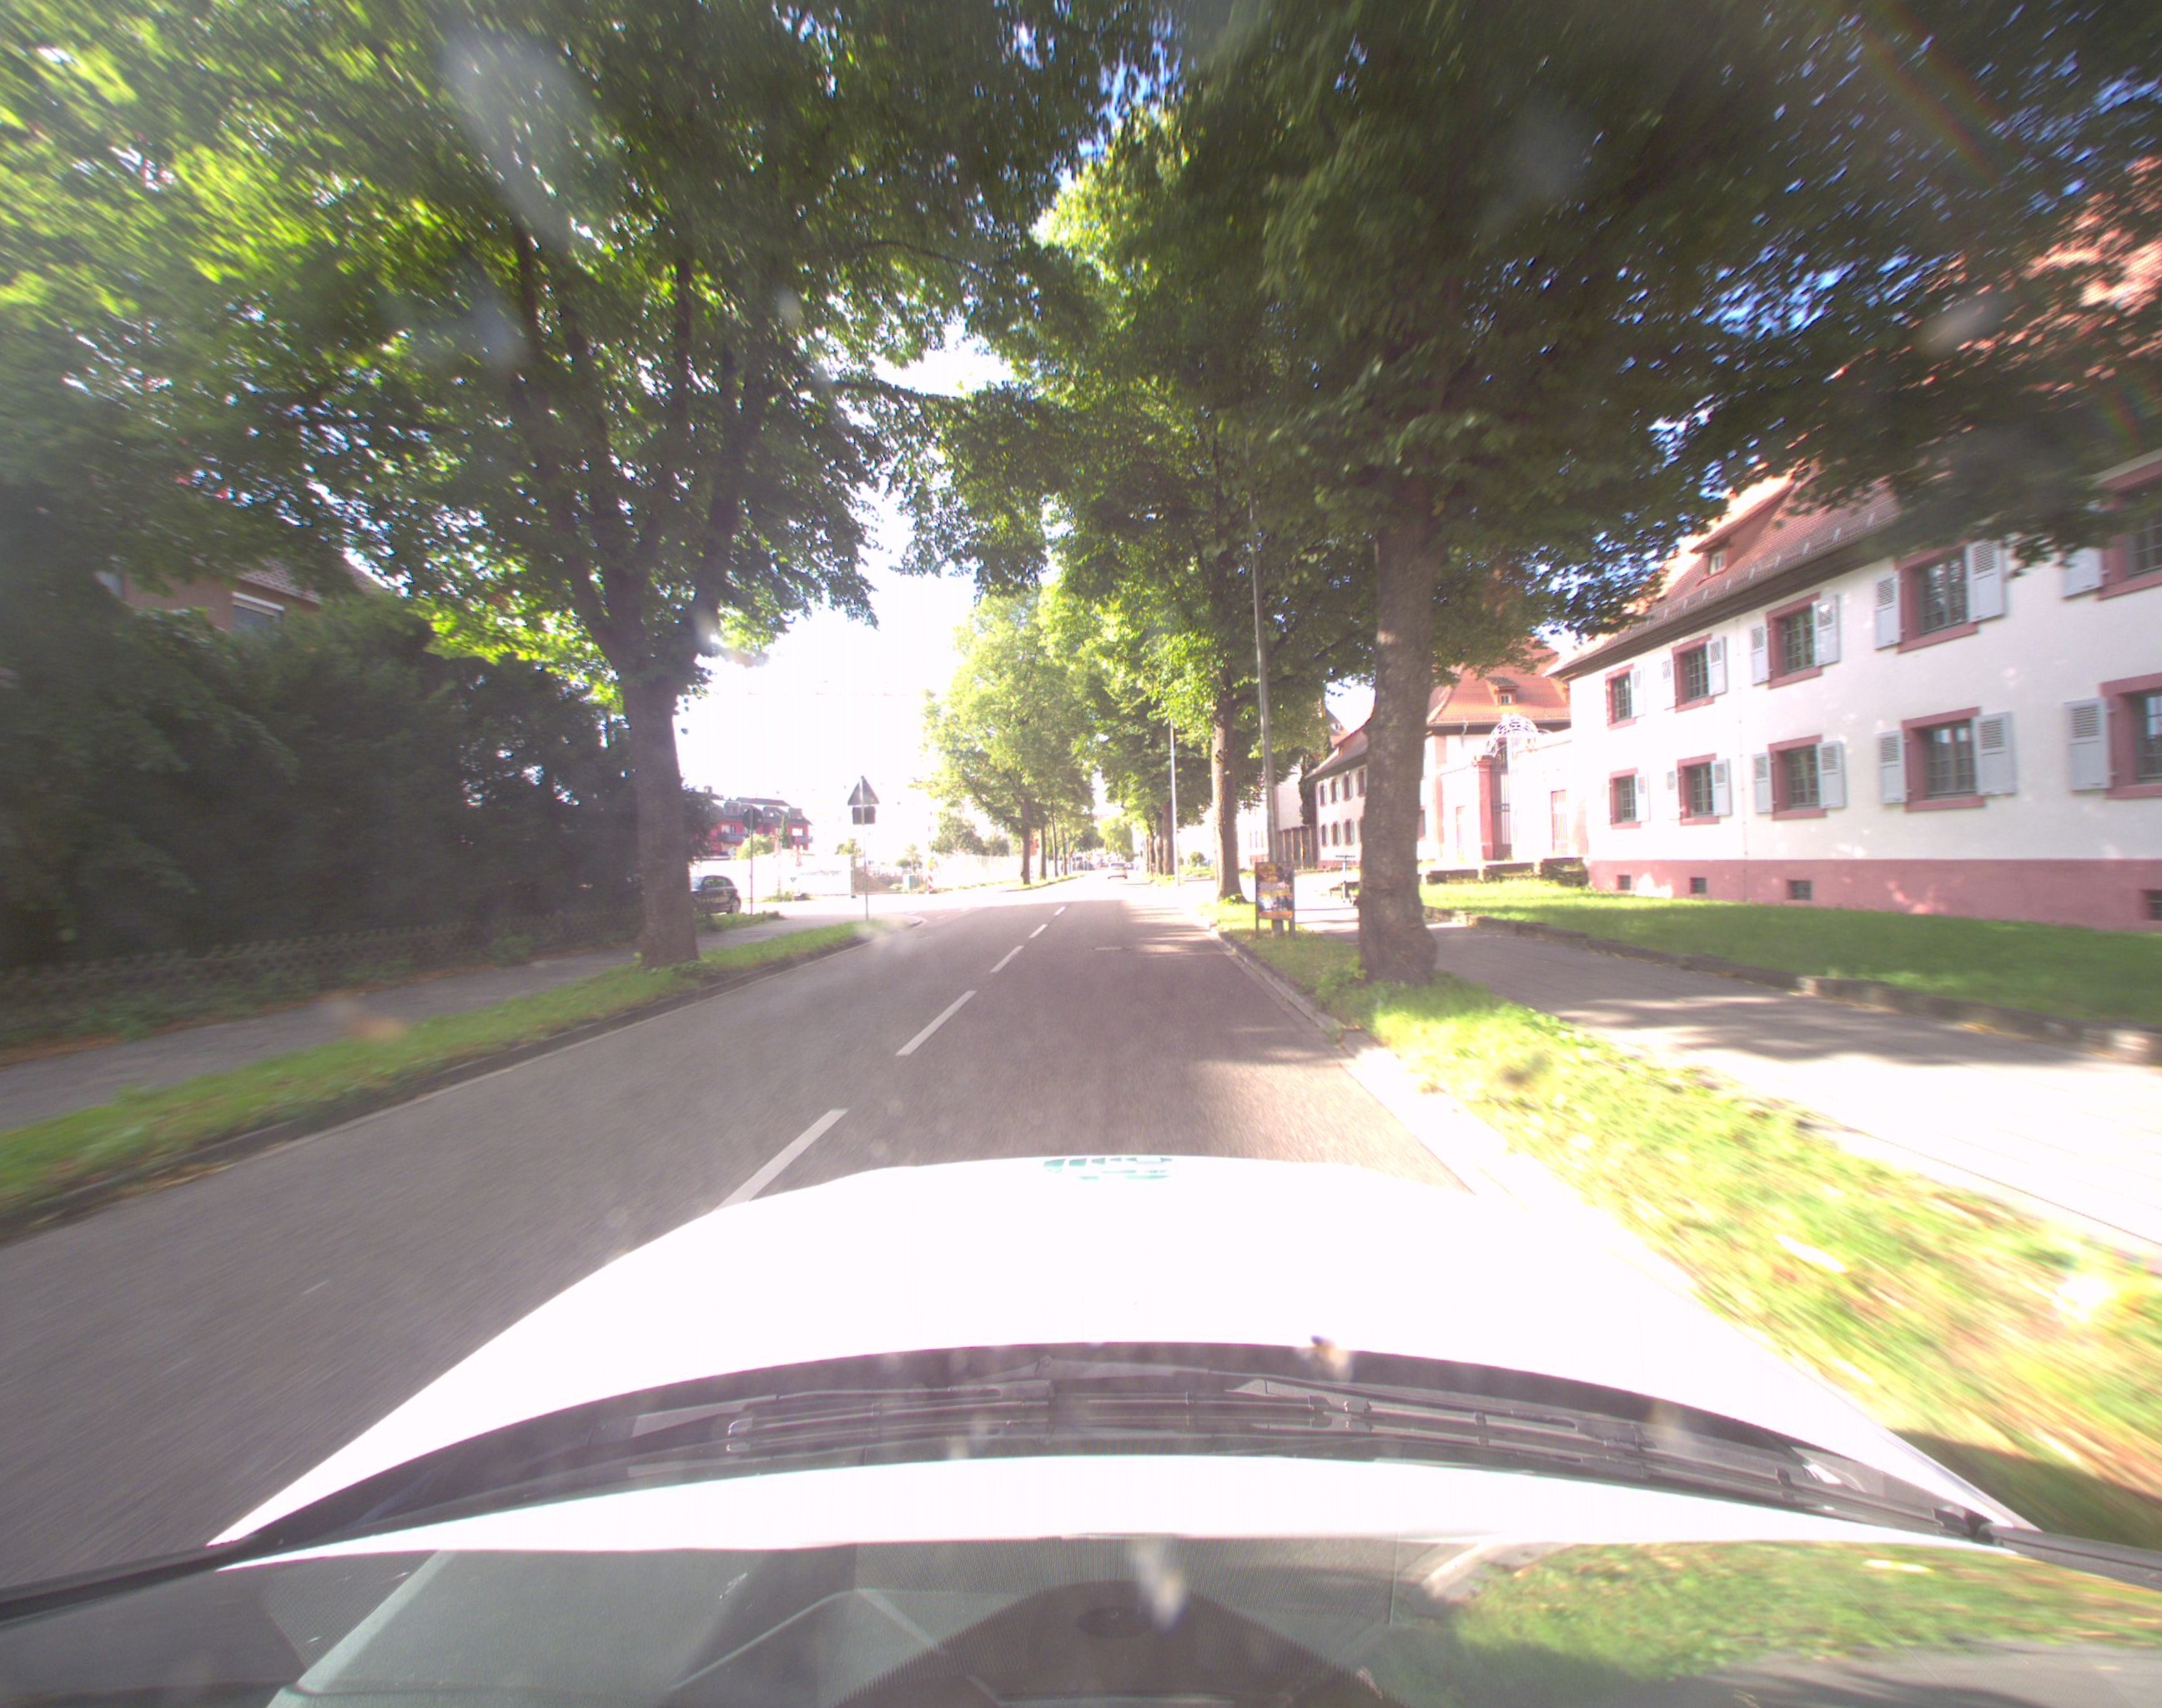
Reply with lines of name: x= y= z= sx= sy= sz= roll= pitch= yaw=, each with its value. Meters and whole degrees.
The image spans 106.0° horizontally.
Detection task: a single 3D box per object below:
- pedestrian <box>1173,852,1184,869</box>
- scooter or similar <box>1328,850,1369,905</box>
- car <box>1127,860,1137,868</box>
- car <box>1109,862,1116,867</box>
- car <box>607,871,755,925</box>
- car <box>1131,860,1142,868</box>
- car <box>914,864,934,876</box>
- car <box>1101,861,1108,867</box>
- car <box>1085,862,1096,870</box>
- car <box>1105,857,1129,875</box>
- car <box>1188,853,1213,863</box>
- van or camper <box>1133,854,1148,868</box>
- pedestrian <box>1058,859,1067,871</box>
pedestrian: x=9.347 y=0.624 z=78.084 sx=0.811 sy=1.590 sz=0.769 roll=-4 pitch=-1 yaw=1
scooter or similar: x=6.604 y=0.563 z=20.165 sx=0.576 sy=1.291 sz=1.383 roll=-4 pitch=-1 yaw=4
car: x=10.951 y=2.188 z=175.457 sx=1.986 sy=1.574 sz=4.001 roll=-3 pitch=-1 yaw=2
car: x=10.141 y=3.362 z=262.387 sx=1.985 sy=1.755 sz=4.003 roll=-1 pitch=-1 yaw=3
car: x=-12.087 y=1.305 z=25.030 sx=1.984 sy=1.429 sz=4.513 roll=-3 pitch=-2 yaw=5
car: x=11.283 y=1.965 z=164.858 sx=1.986 sy=1.574 sz=4.001 roll=-3 pitch=-1 yaw=2
car: x=-29.059 y=3.004 z=150.669 sx=1.978 sy=2.014 sz=4.018 roll=-3 pitch=-1 yaw=18
car: x=7.292 y=2.992 z=250.576 sx=1.985 sy=1.755 sz=4.003 roll=-1 pitch=-1 yaw=3
car: x=2.058 y=2.512 z=170.607 sx=1.990 sy=1.640 sz=3.994 roll=-3 pitch=-1 yaw=-4
car: x=3.215 y=1.119 z=73.703 sx=1.987 sy=1.555 sz=4.272 roll=-1 pitch=-1 yaw=-1
car: x=21.791 y=0.678 z=148.658 sx=4.426 sy=1.622 sz=2.003 roll=-3 pitch=-1 yaw=6
van or camper: x=11.251 y=1.354 z=153.923 sx=2.203 sy=2.607 sz=5.368 roll=-3 pitch=-1 yaw=-1
pedestrian: x=-2.615 y=1.550 z=115.547 sx=1.007 sy=1.728 sz=1.174 roll=-1 pitch=-2 yaw=-10
